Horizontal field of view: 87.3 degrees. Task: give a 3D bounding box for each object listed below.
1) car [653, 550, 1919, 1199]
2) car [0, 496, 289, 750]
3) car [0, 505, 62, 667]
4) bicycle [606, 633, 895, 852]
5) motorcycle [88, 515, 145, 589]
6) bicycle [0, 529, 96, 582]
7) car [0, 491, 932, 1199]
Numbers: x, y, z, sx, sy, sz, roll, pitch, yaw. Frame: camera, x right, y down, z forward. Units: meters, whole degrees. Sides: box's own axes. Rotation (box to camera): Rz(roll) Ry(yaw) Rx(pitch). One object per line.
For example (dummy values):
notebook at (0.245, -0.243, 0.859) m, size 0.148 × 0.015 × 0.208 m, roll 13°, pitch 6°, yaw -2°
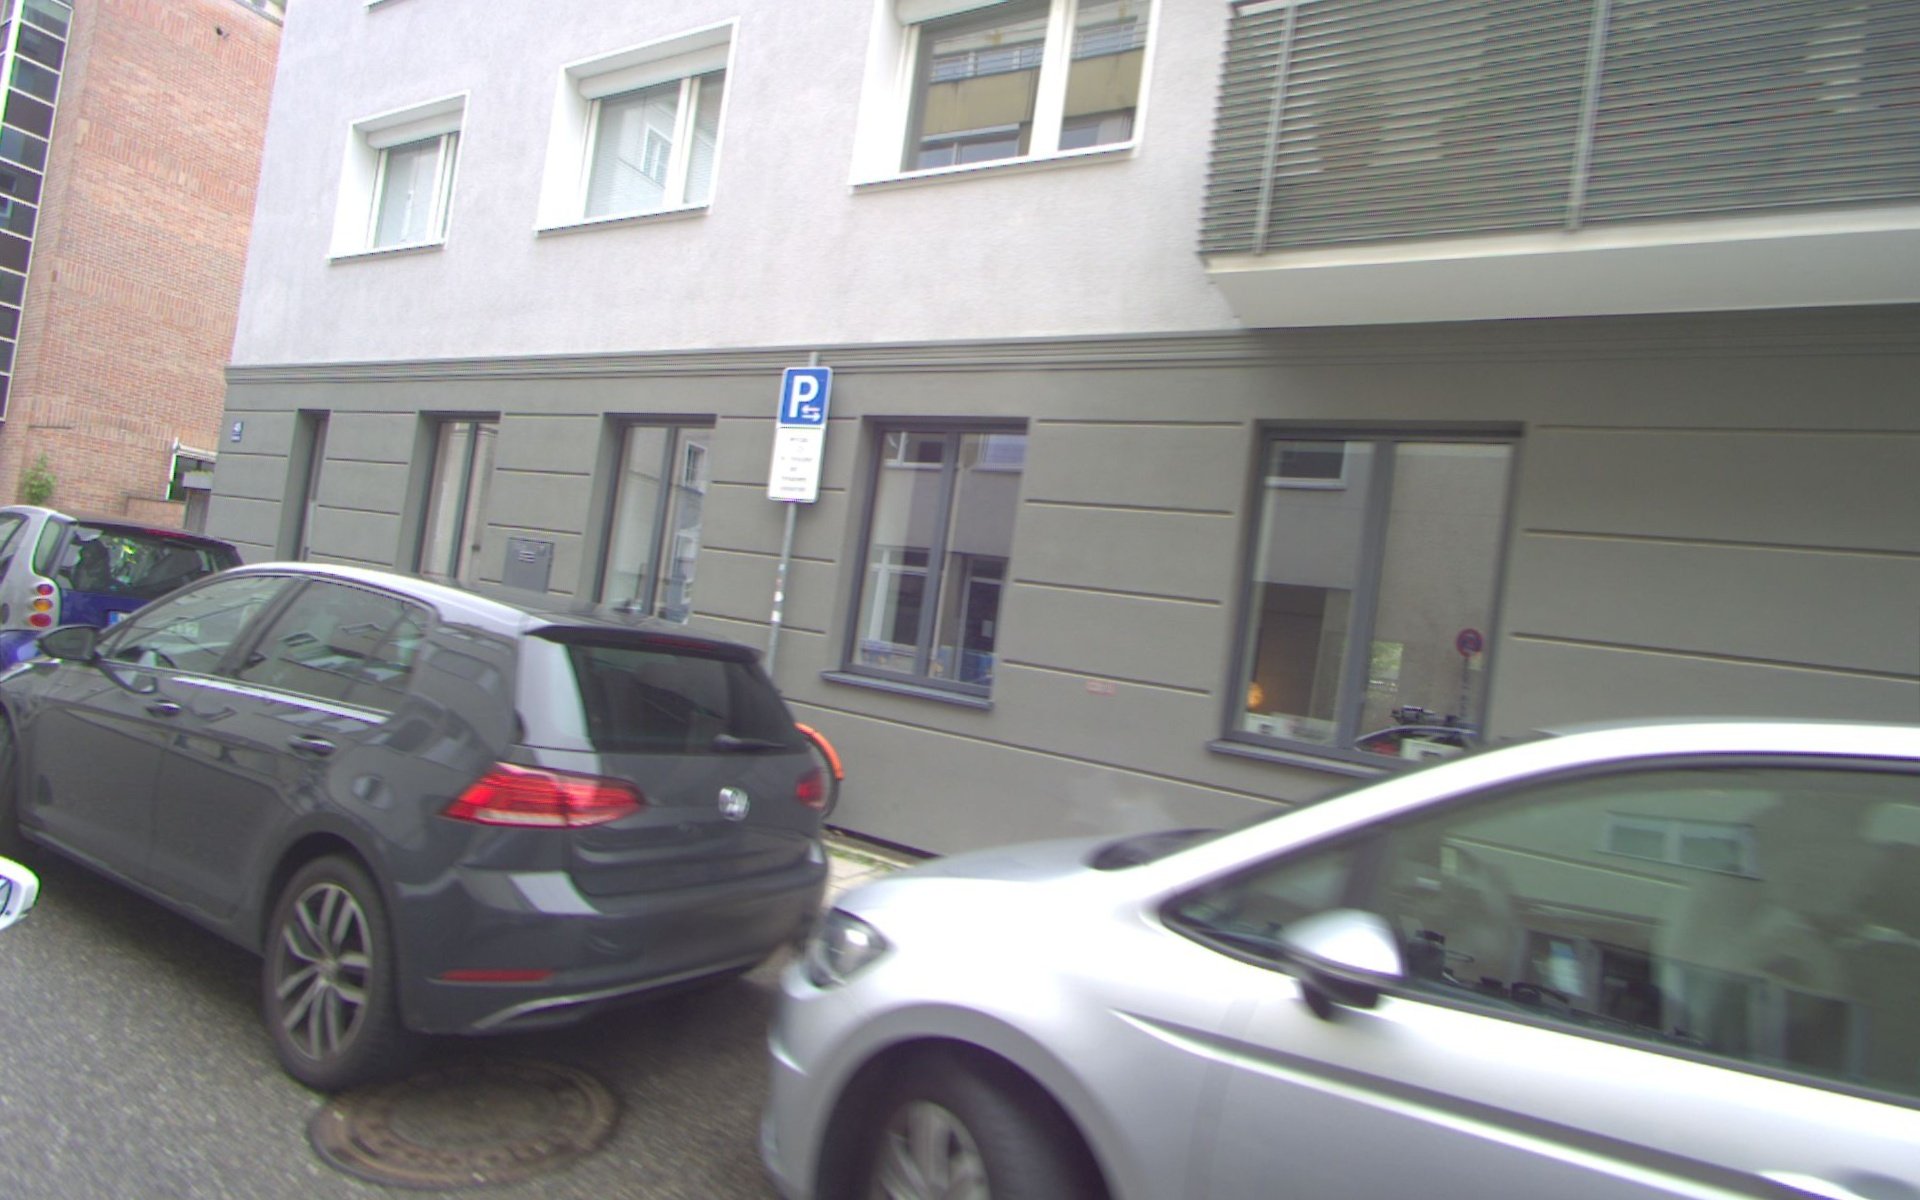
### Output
car at (1.652, 0.966, 2.111) m, size 4.243 × 1.589 × 1.879 m, roll 7°, pitch -1°, yaw 30°
car at (-6.774, 0.076, 7.544) m, size 3.148 × 1.528 × 1.525 m, roll 7°, pitch -3°, yaw 30°
car at (-10.902, -0.403, 9.922) m, size 4.080 × 1.478 × 1.750 m, roll 7°, pitch -3°, yaw 30°
bicycle at (-1.465, 0.908, 6.838) m, size 1.963 × 1.104 × 0.570 m, roll 7°, pitch -1°, yaw 33°
motorcycle at (-16.956, -0.981, 20.207) m, size 1.914 × 1.360 × 0.539 m, roll 6°, pitch -1°, yaw 43°
bicycle at (-18.523, -0.887, 20.453) m, size 0.407 × 0.869 × 1.318 m, roll 6°, pitch -2°, yaw 31°
car at (-2.469, 0.562, 4.221) m, size 4.220 × 1.545 × 1.845 m, roll 7°, pitch -3°, yaw 30°
